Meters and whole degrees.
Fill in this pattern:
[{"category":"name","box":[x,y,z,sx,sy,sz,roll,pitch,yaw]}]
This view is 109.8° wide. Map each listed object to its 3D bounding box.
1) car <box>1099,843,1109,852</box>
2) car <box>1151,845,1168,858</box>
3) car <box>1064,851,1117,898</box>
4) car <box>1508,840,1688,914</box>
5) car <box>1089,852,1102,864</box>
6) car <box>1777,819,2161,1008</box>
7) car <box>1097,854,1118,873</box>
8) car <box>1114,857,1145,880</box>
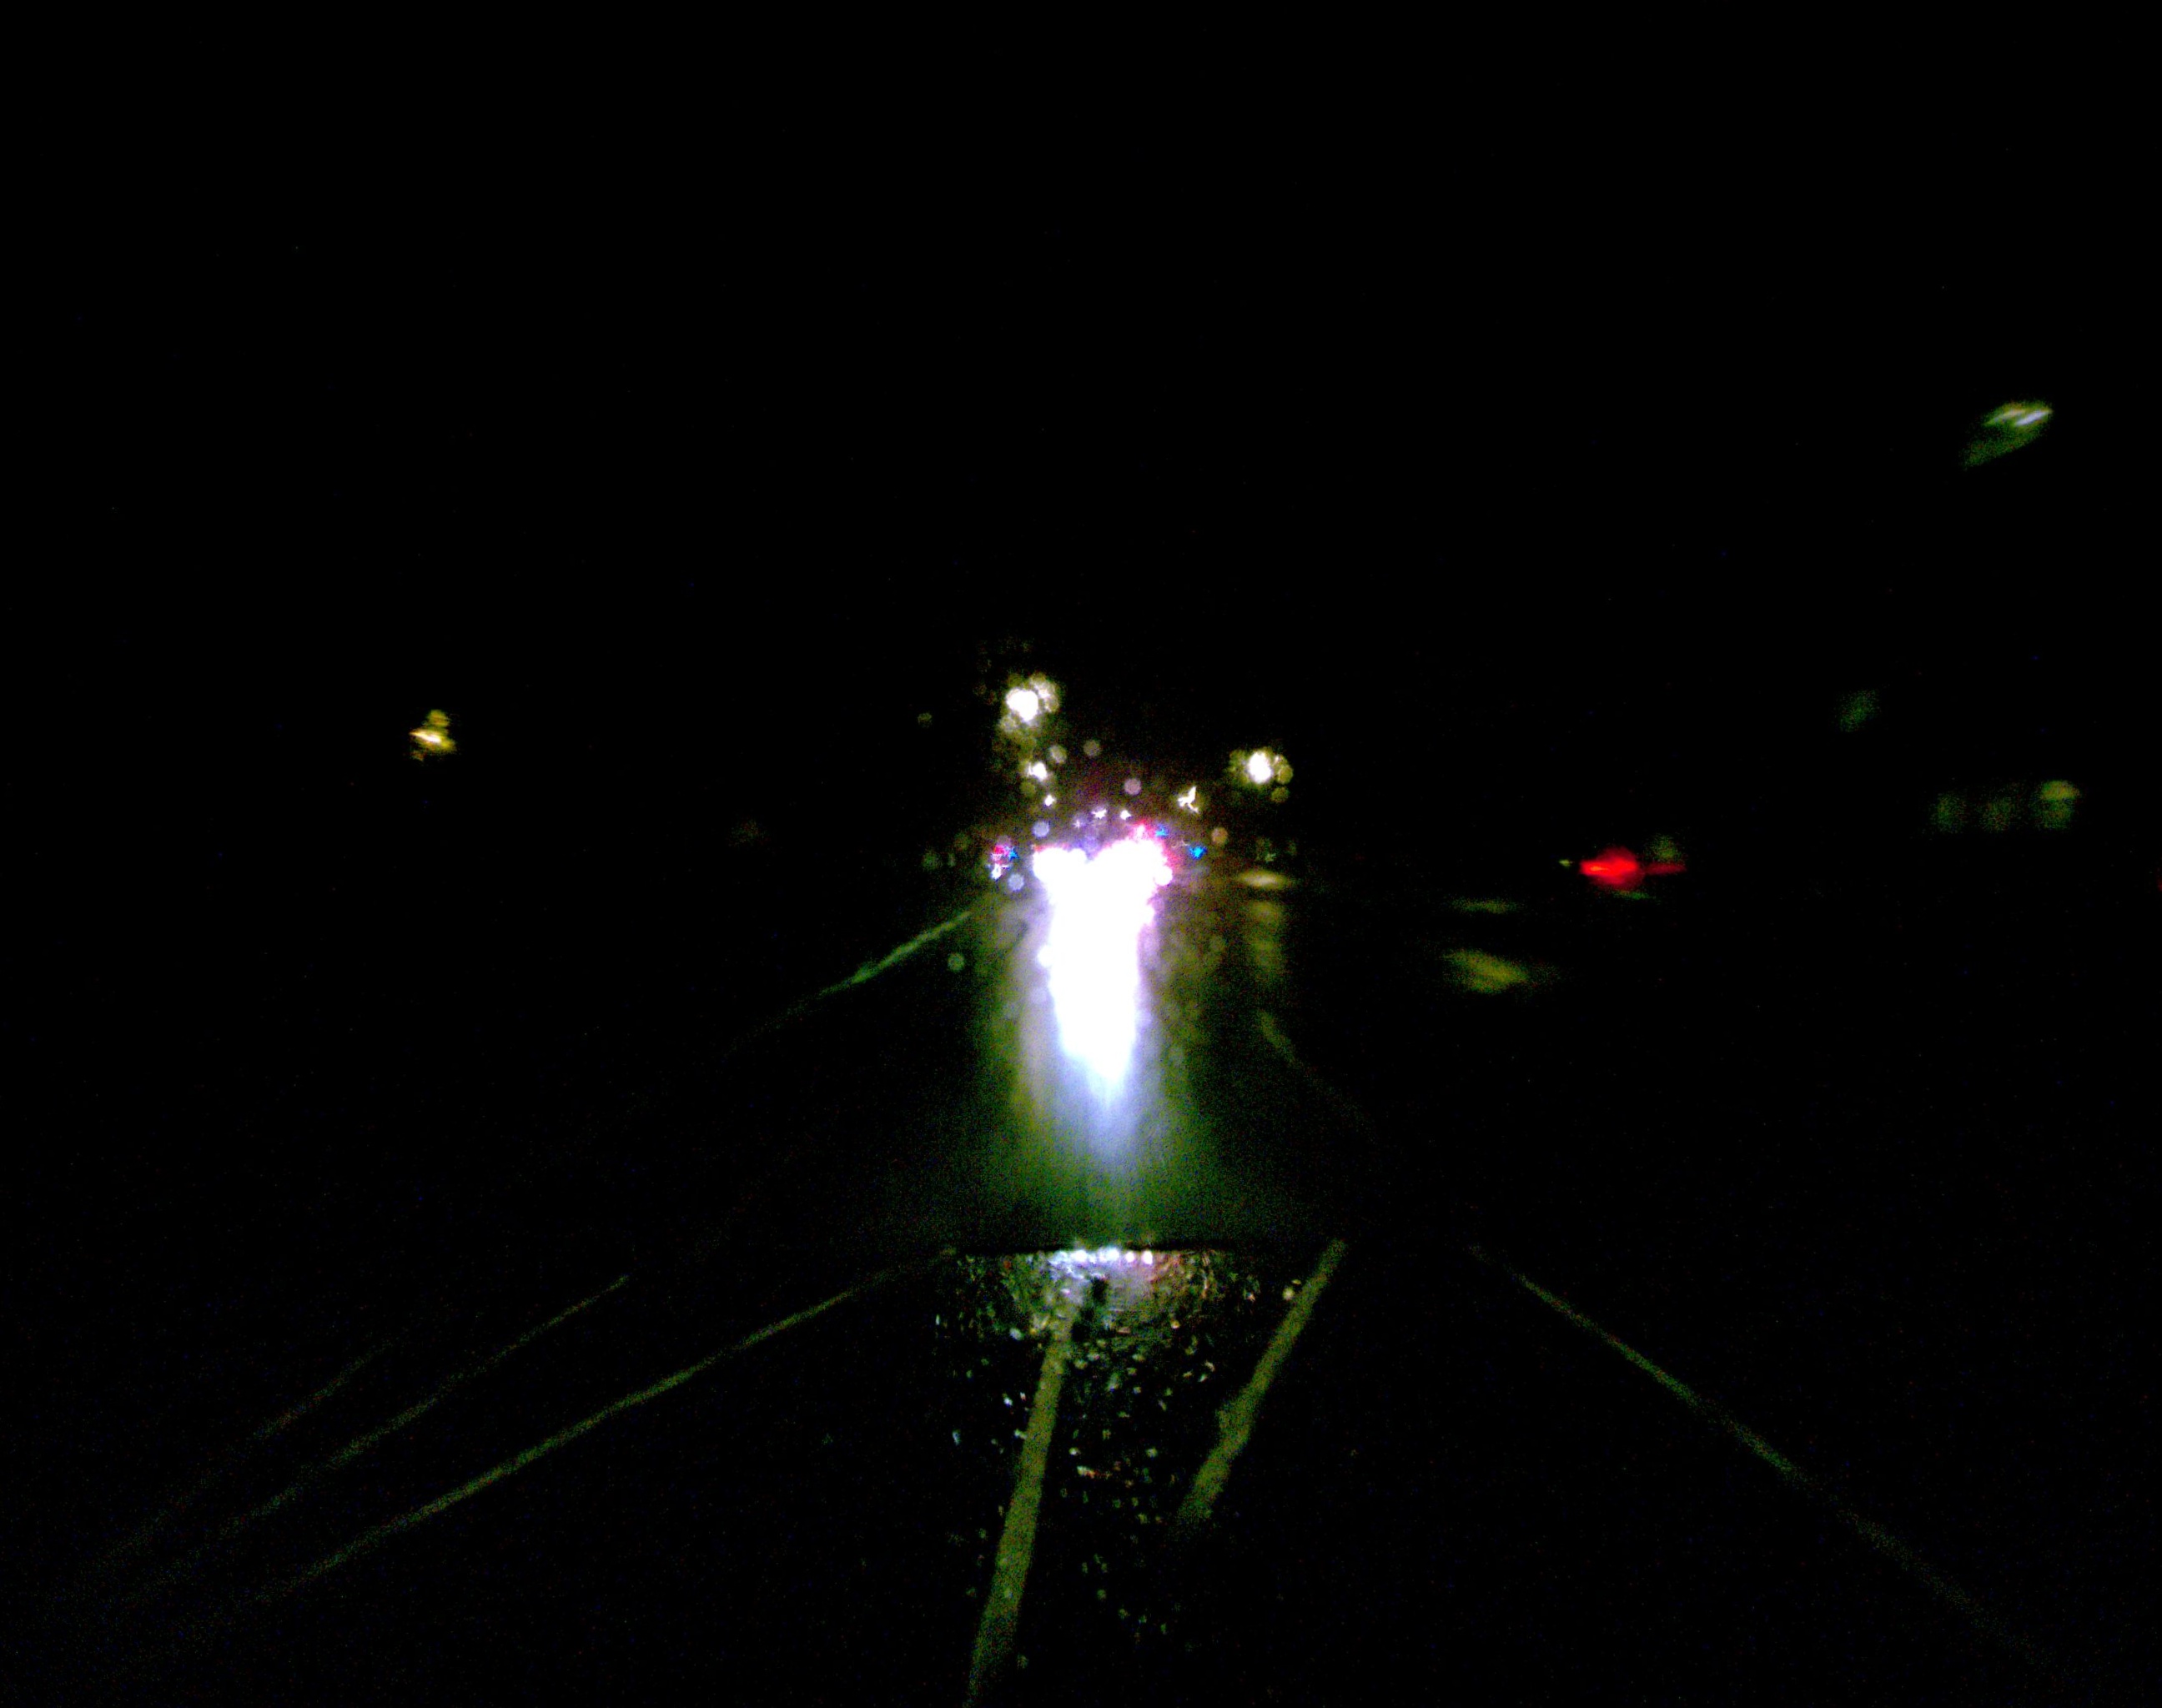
[{"category":"car","box":[4.810,-1.417,159.175,1.834,1.696,4.193,-2,1,-1]},{"category":"car","box":[10.471,-0.351,101.478,1.711,1.568,3.819,-2,1,-2]},{"category":"car","box":[0.315,0.774,31.195,1.950,1.709,4.441,-2,1,-1]},{"category":"car","box":[12.501,0.494,18.706,1.711,1.568,3.819,-2,1,-2]},{"category":"car","box":[2.249,0.557,118.514,1.834,1.696,4.193,-2,1,-1]},{"category":"car","box":[9.937,0.514,7.618,1.848,1.583,4.255,2,1,-2]},{"category":"car","box":[2.650,0.942,76.846,1.834,1.696,4.193,-2,1,-1]},{"category":"car","box":[3.465,1.021,55.424,1.834,1.518,4.873,-2,1,-1]}]
